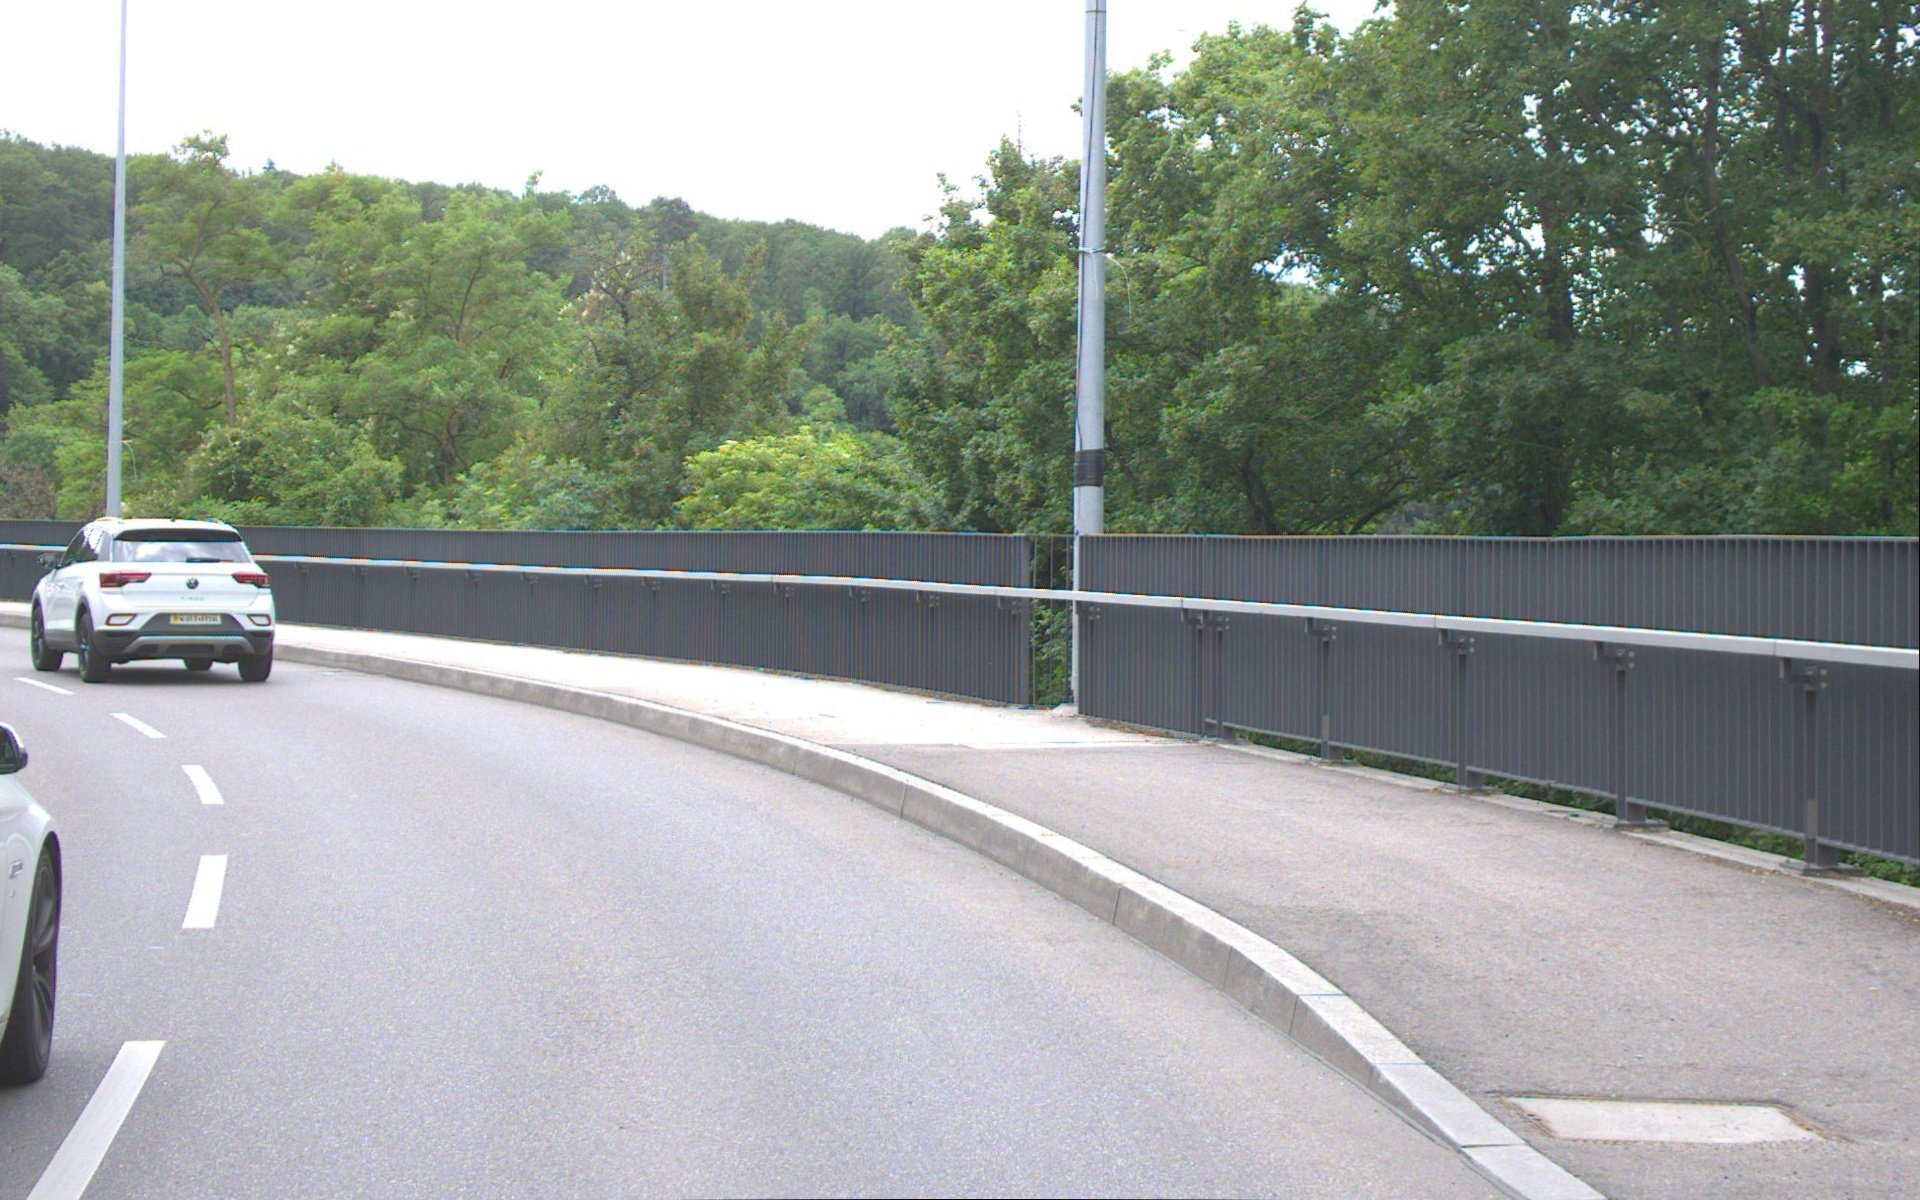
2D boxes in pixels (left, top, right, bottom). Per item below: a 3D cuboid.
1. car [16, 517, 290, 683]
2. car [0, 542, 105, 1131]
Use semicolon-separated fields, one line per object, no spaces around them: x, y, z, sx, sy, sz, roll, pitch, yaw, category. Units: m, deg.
-7.988;-0.024;33.795;1.866;1.531;3.804;0;1;-25;car
-3.220;0.605;7.545;1.847;1.462;4.880;2;1;-5;car
